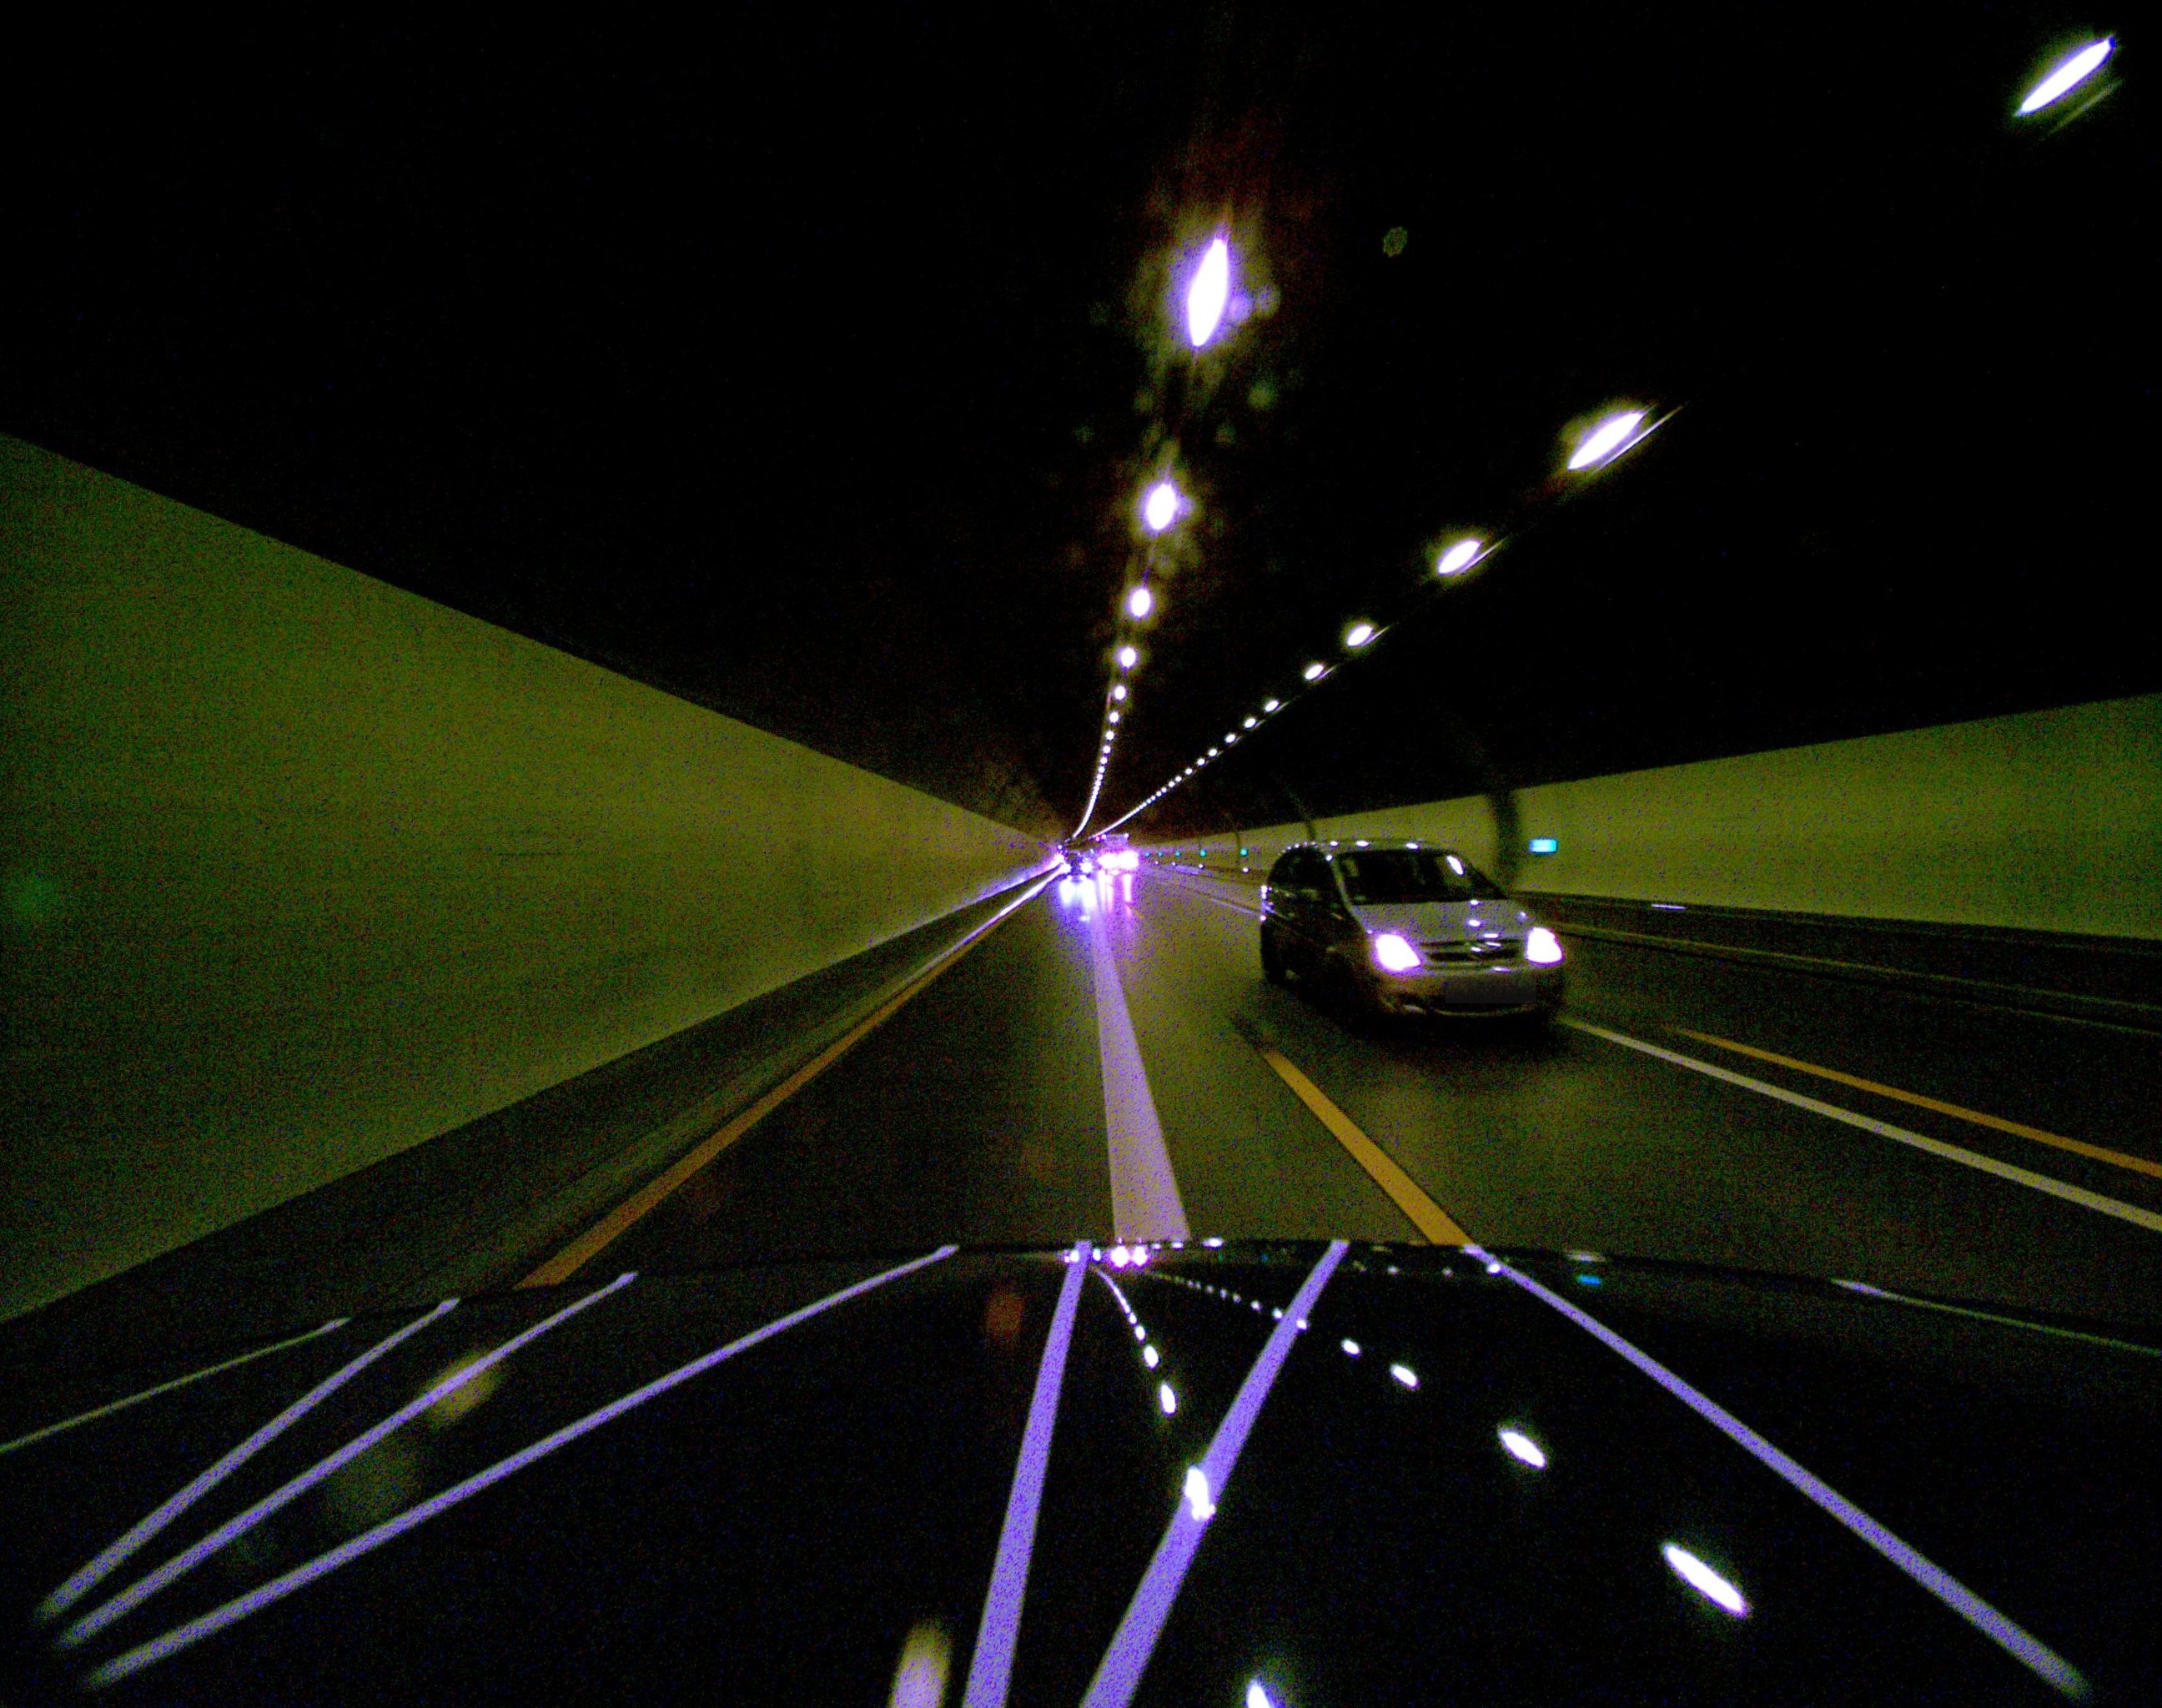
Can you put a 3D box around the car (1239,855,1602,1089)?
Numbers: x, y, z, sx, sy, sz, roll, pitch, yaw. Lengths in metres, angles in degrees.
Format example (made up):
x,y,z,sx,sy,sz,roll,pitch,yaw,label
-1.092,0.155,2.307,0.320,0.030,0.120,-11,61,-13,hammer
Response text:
x,y,z,sx,sy,sz,roll,pitch,yaw,label
2.822,0.843,7.418,1.766,1.563,4.097,-2,1,1,car

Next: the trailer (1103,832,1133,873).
x,y,z,sx,sy,sz,roll,pitch,yaw,label
3.272,-0.101,68.720,2.374,3.328,12.080,-1,0,2,trailer

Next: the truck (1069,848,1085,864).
x,y,z,sx,sy,sz,roll,pitch,yaw,label
-0.705,0.248,131.355,2.151,2.610,9.902,-2,1,-3,truck

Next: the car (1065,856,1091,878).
x,y,z,sx,sy,sz,roll,pitch,yaw,label
-0.193,0.882,53.993,1.728,1.474,4.000,-2,0,0,car

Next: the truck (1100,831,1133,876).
x,y,z,sx,sy,sz,roll,pitch,yaw,label
2.874,-0.045,62.195,2.374,3.328,4.719,-4,0,1,truck
